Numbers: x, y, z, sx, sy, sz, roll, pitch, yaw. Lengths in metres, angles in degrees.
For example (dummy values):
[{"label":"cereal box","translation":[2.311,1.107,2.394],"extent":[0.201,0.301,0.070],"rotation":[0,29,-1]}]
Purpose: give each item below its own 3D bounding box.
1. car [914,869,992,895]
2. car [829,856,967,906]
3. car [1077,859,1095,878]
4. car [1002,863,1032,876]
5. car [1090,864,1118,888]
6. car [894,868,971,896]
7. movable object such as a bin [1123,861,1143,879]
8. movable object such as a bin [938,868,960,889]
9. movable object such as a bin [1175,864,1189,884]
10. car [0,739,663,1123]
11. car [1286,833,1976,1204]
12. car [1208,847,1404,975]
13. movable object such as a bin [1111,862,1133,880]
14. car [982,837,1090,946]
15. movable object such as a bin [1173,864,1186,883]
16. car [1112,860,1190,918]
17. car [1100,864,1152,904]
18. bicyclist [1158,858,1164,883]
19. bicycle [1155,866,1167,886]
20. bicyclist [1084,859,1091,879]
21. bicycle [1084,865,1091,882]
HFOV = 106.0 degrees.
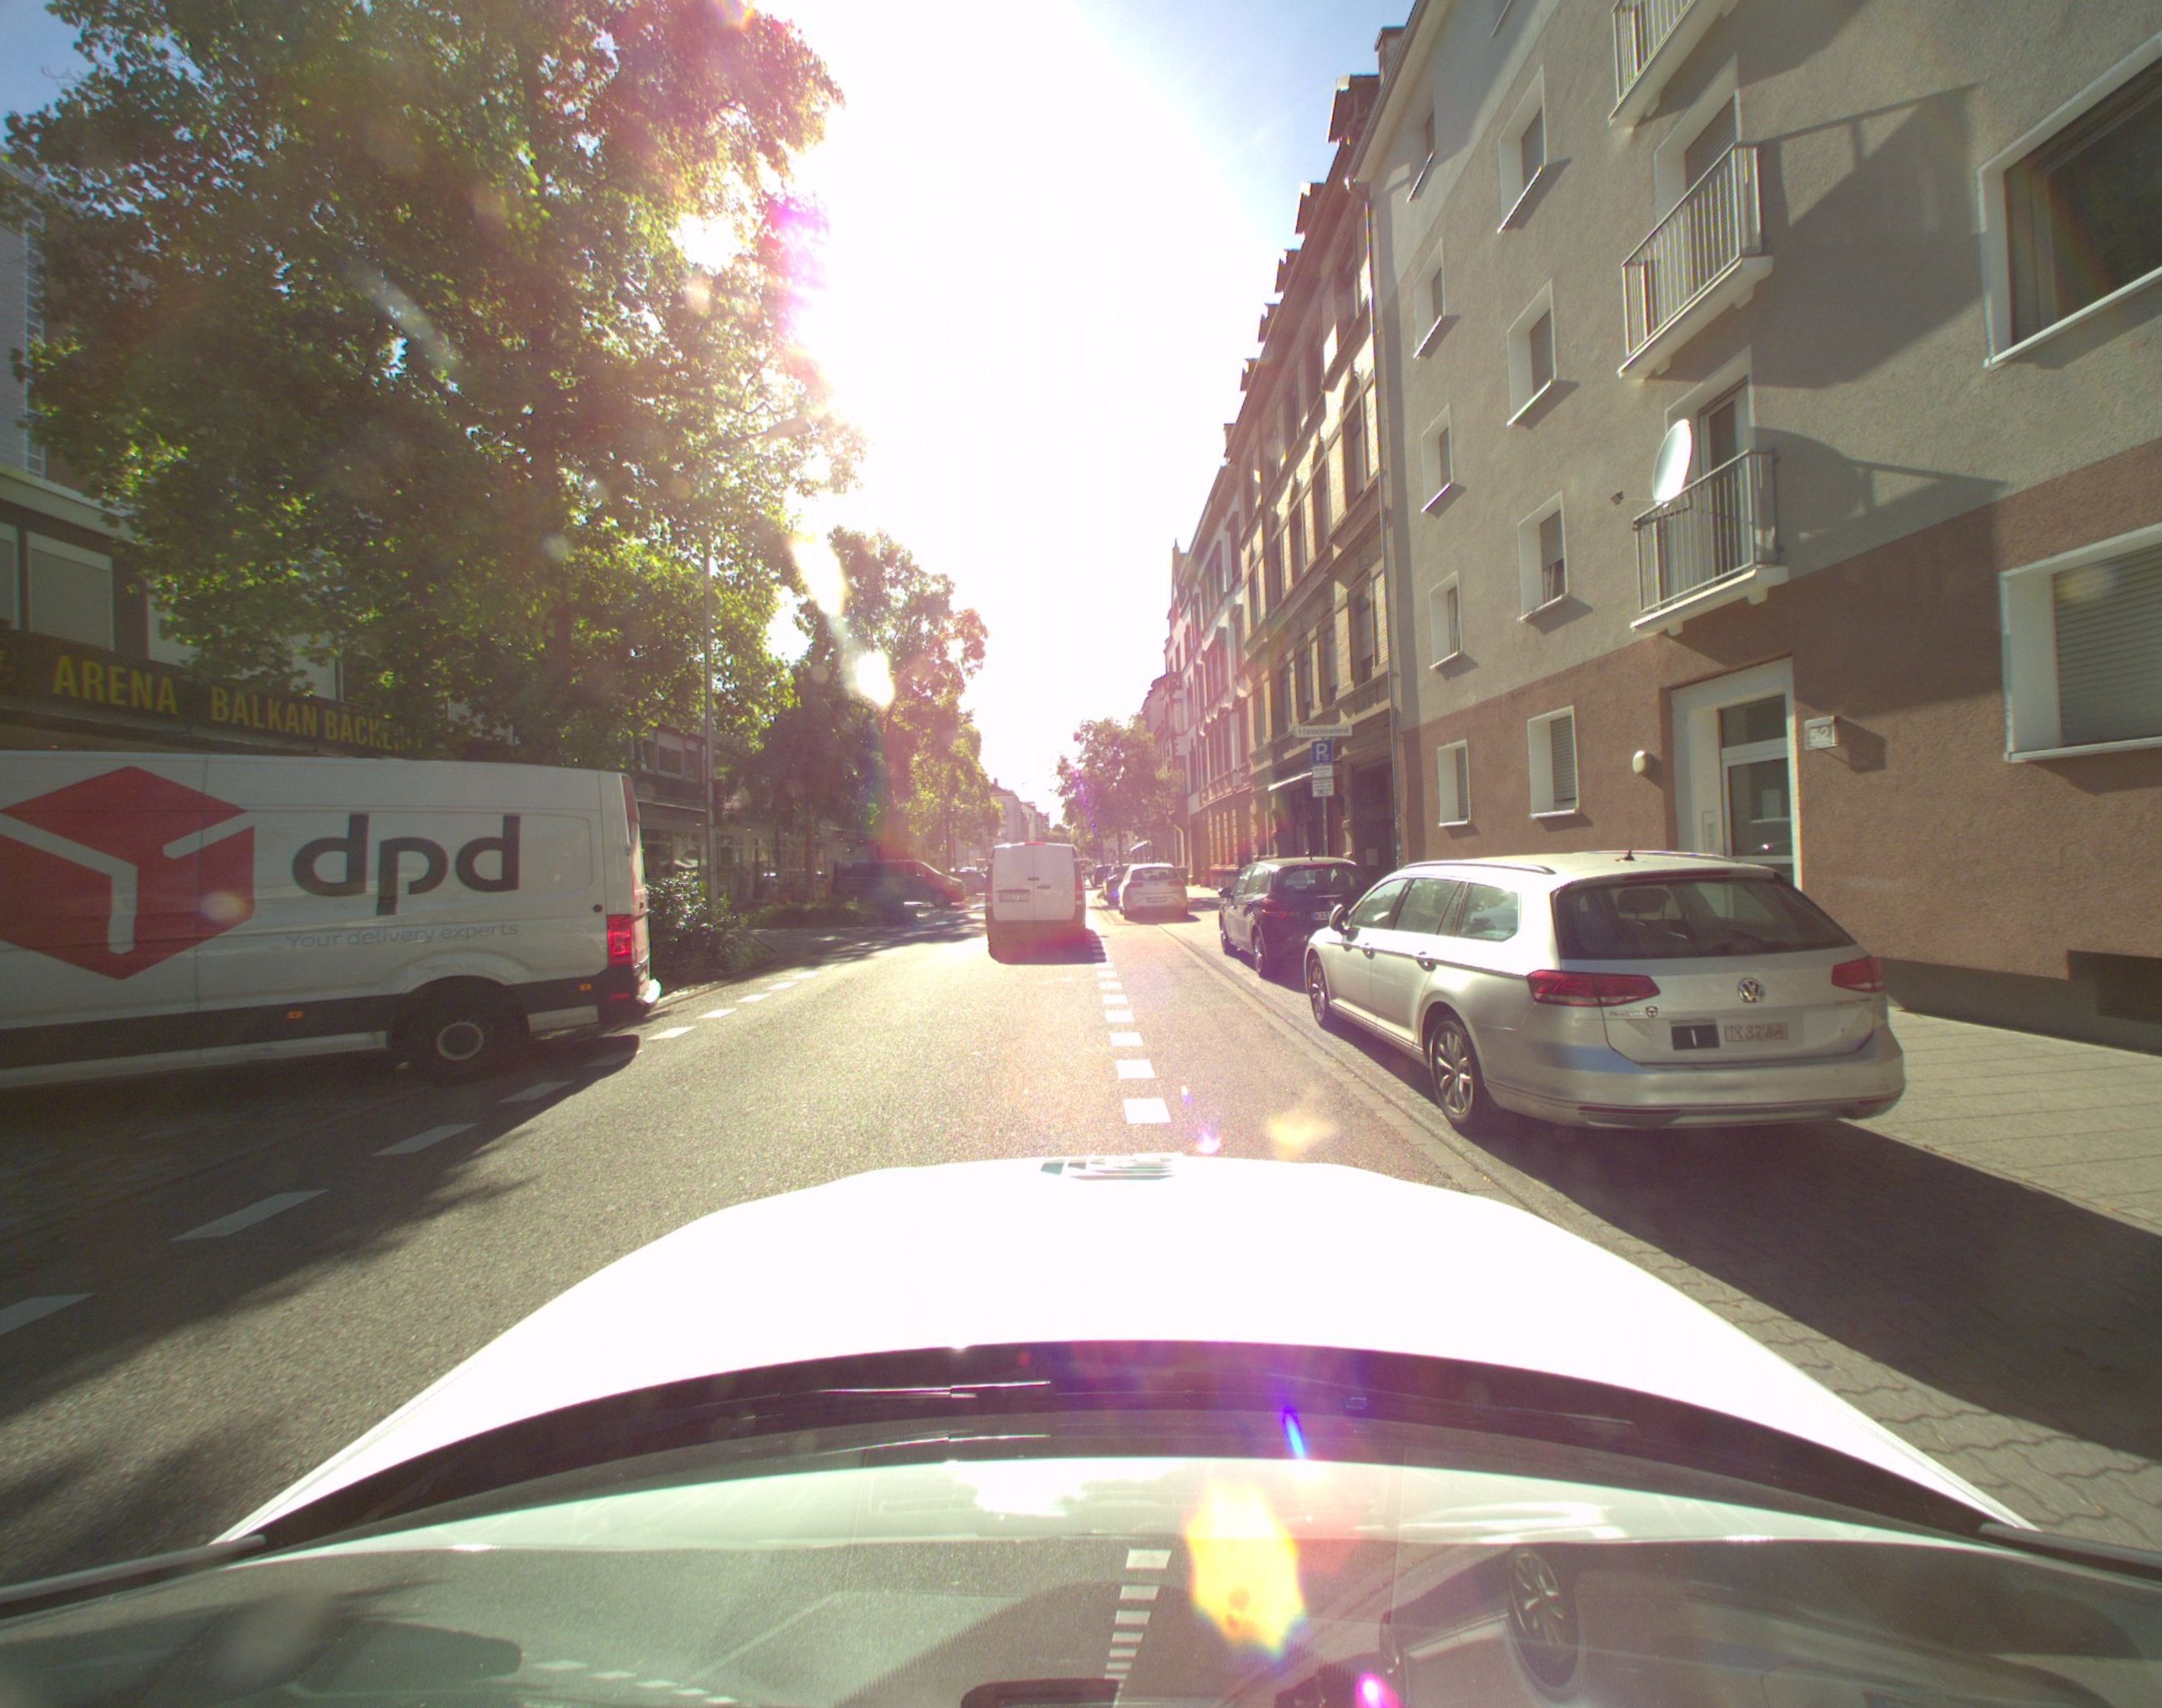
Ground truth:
[{"label":"car","translation":[-7.491,1.621,47.987],"extent":[4.289,1.460,1.762],"rotation":[0,-1,1]},{"label":"car","translation":[-7.511,1.096,33.896],"extent":[5.277,1.974,2.014],"rotation":[0,-1,-2]},{"label":"car","translation":[0.539,1.549,89.206],"extent":[1.811,1.921,4.640],"rotation":[-2,-1,-2]},{"label":"car","translation":[-8.760,2.151,111.232],"extent":[3.980,1.640,1.997],"rotation":[-1,-1,-5]},{"label":"car","translation":[1.513,1.478,55.385],"extent":[1.631,1.476,3.576],"rotation":[-2,-1,-2]},{"label":"car","translation":[-8.199,1.553,45.279],"extent":[3.979,1.463,1.810],"rotation":[-1,-1,-4]},{"label":"movable object such as a bin","translation":[4.110,1.294,64.448],"extent":[1.028,1.348,1.116],"rotation":[-3,-1,38]},{"label":"movable object such as a bin","translation":[-9.561,1.751,58.861],"extent":[1.223,1.450,1.079],"rotation":[-2,-1,9]},{"label":"movable object such as a bin","translation":[5.732,1.131,46.200],"extent":[0.636,1.069,0.639],"rotation":[-2,-1,-1]},{"label":"car","translation":[-7.011,0.503,6.365],"extent":[6.620,2.474,1.982],"rotation":[-2,-1,-28]},{"label":"car","translation":[2.855,0.711,5.659],"extent":[1.779,1.460,4.517],"rotation":[-3,-1,1]},{"label":"car","translation":[3.000,0.706,11.654],"extent":[1.704,1.480,3.709],"rotation":[-2,-1,-1]},{"label":"movable object such as a bin","translation":[3.211,1.321,63.298],"extent":[1.279,1.348,1.095],"rotation":[-2,-1,-43]},{"label":"car","translation":[-1.037,0.688,16.937],"extent":[1.918,1.914,4.877],"rotation":[0,0,-6]},{"label":"movable object such as a bin","translation":[5.700,1.149,47.355],"extent":[0.636,1.069,0.632],"rotation":[-2,-1,-1]},{"label":"car","translation":[1.901,0.929,23.192],"extent":[1.734,1.451,3.997],"rotation":[-2,-1,-1]},{"label":"car","translation":[1.722,1.134,32.389],"extent":[1.734,1.451,4.304],"rotation":[-2,-1,-1]},{"label":"bicyclist","translation":[4.754,0.956,48.461],"extent":[0.359,1.477,0.531],"rotation":[-1,-1,4]},{"label":"bicycle","translation":[4.746,1.297,48.342],"extent":[0.534,1.148,2.126],"rotation":[-6,-2,4]},{"label":"bicyclist","translation":[0.463,1.110,61.158],"extent":[0.438,1.508,0.496],"rotation":[-4,-1,-2]},{"label":"bicycle","translation":[0.489,1.449,61.143],"extent":[0.474,1.274,1.217],"rotation":[-2,-1,-1]}]
